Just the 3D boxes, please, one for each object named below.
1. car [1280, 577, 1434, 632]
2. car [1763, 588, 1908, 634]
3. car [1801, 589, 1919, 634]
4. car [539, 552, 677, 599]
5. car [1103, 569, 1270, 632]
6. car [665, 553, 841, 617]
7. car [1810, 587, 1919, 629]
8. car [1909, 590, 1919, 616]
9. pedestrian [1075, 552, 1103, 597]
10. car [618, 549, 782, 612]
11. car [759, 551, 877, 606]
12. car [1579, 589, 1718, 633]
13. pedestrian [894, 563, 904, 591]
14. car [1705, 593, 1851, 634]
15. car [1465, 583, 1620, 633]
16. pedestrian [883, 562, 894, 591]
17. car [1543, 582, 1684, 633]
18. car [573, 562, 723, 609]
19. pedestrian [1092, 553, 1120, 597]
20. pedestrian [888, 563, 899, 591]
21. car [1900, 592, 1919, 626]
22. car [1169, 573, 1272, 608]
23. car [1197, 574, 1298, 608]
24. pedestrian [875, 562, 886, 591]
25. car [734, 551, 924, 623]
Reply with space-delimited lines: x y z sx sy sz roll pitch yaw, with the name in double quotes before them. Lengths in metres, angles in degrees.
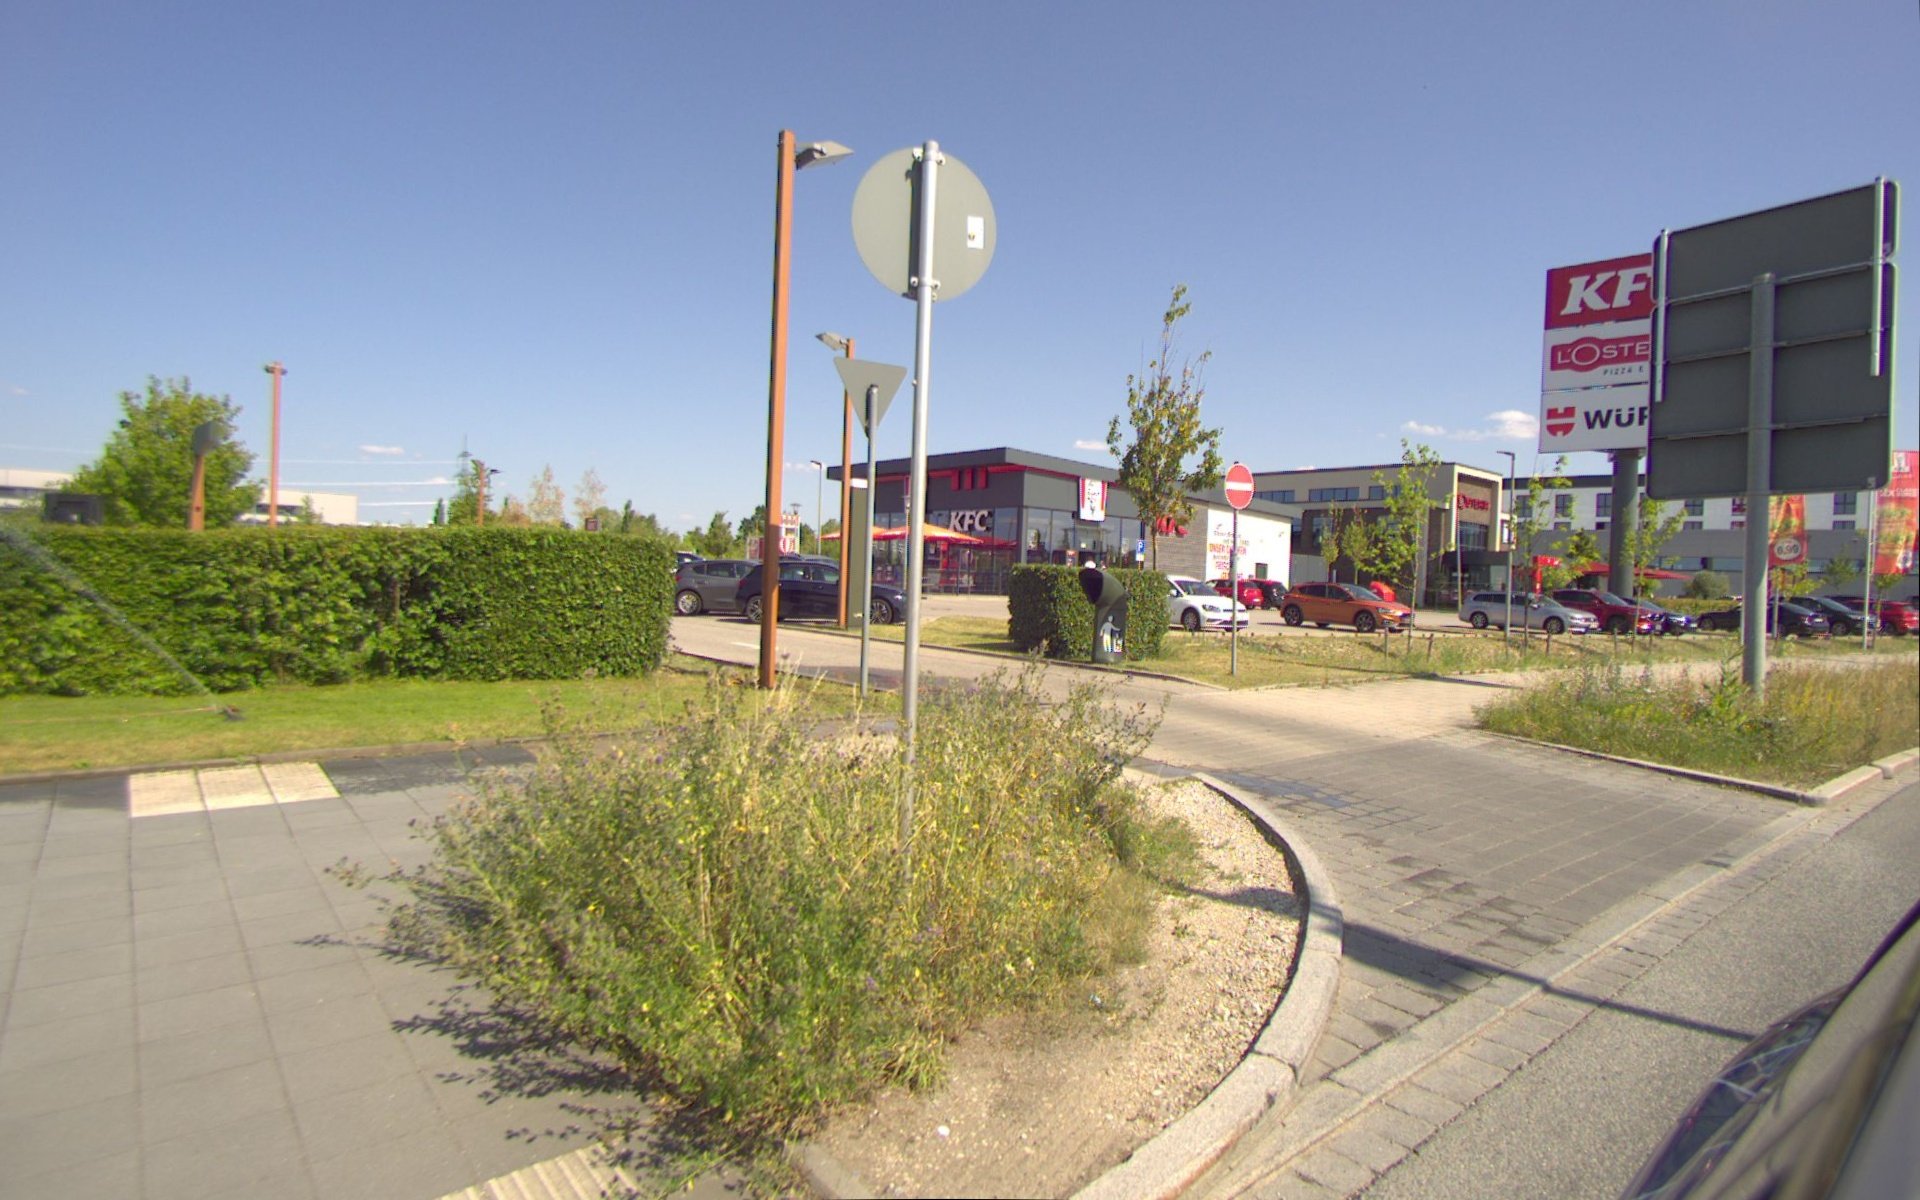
"car" 12.506 0.102 32.121 1.832 1.508 4.222 1 2 -33
"car" 38.439 0.456 44.570 1.753 1.756 4.431 2 2 -22
"car" 41.204 0.495 45.852 1.753 1.756 4.431 2 2 -22
"car" -12.011 -0.851 34.673 4.093 1.469 1.790 2 1 3
"car" 6.227 -0.030 28.351 1.832 1.508 4.544 1 2 -33
"car" -5.250 -0.396 25.991 4.093 1.480 1.790 2 1 3
"car" 43.757 0.396 47.881 1.899 1.756 5.009 2 2 -24
"car" 69.108 0.248 72.012 2.041 1.838 4.850 3 1 41
"pedestrian" 5.957 -1.199 46.773 0.874 2.039 0.916 1 1 -36
"car" -7.218 -0.556 28.380 4.093 1.599 1.790 2 1 3
"car" -4.625 -0.721 32.531 1.760 1.655 4.164 0 2 -41
"car" 27.211 0.415 40.116 1.755 1.467 4.172 1 2 -31
"pedestrian" -2.714 -1.021 44.999 0.287 1.255 0.380 0 1 -41
"car" 34.314 0.537 42.603 1.754 1.467 4.431 2 2 -23
"car" 21.055 0.252 36.791 1.831 1.508 4.577 1 2 -29
"pedestrian" -3.159 -1.025 44.574 0.287 1.255 0.380 0 1 -41
"car" 25.072 0.255 38.988 1.830 1.686 4.176 2 2 -25
"car" -9.691 -0.474 31.608 4.093 1.313 1.790 2 1 3
"pedestrian" 6.864 -1.191 47.627 0.874 2.039 0.916 1 1 -36
"pedestrian" -2.944 -1.023 44.786 0.287 1.255 0.380 0 1 -41
"car" 47.840 0.551 47.911 1.953 1.586 4.430 2 2 -24
"car" 12.519 -0.476 48.882 1.835 1.449 4.566 1 2 -40
"car" 14.256 -0.454 50.350 1.835 1.449 4.566 1 2 -40
"pedestrian" -3.563 -1.045 45.285 0.287 1.255 0.380 0 1 -41
"car" -2.946 -0.311 23.285 4.093 1.480 1.702 2 1 3
